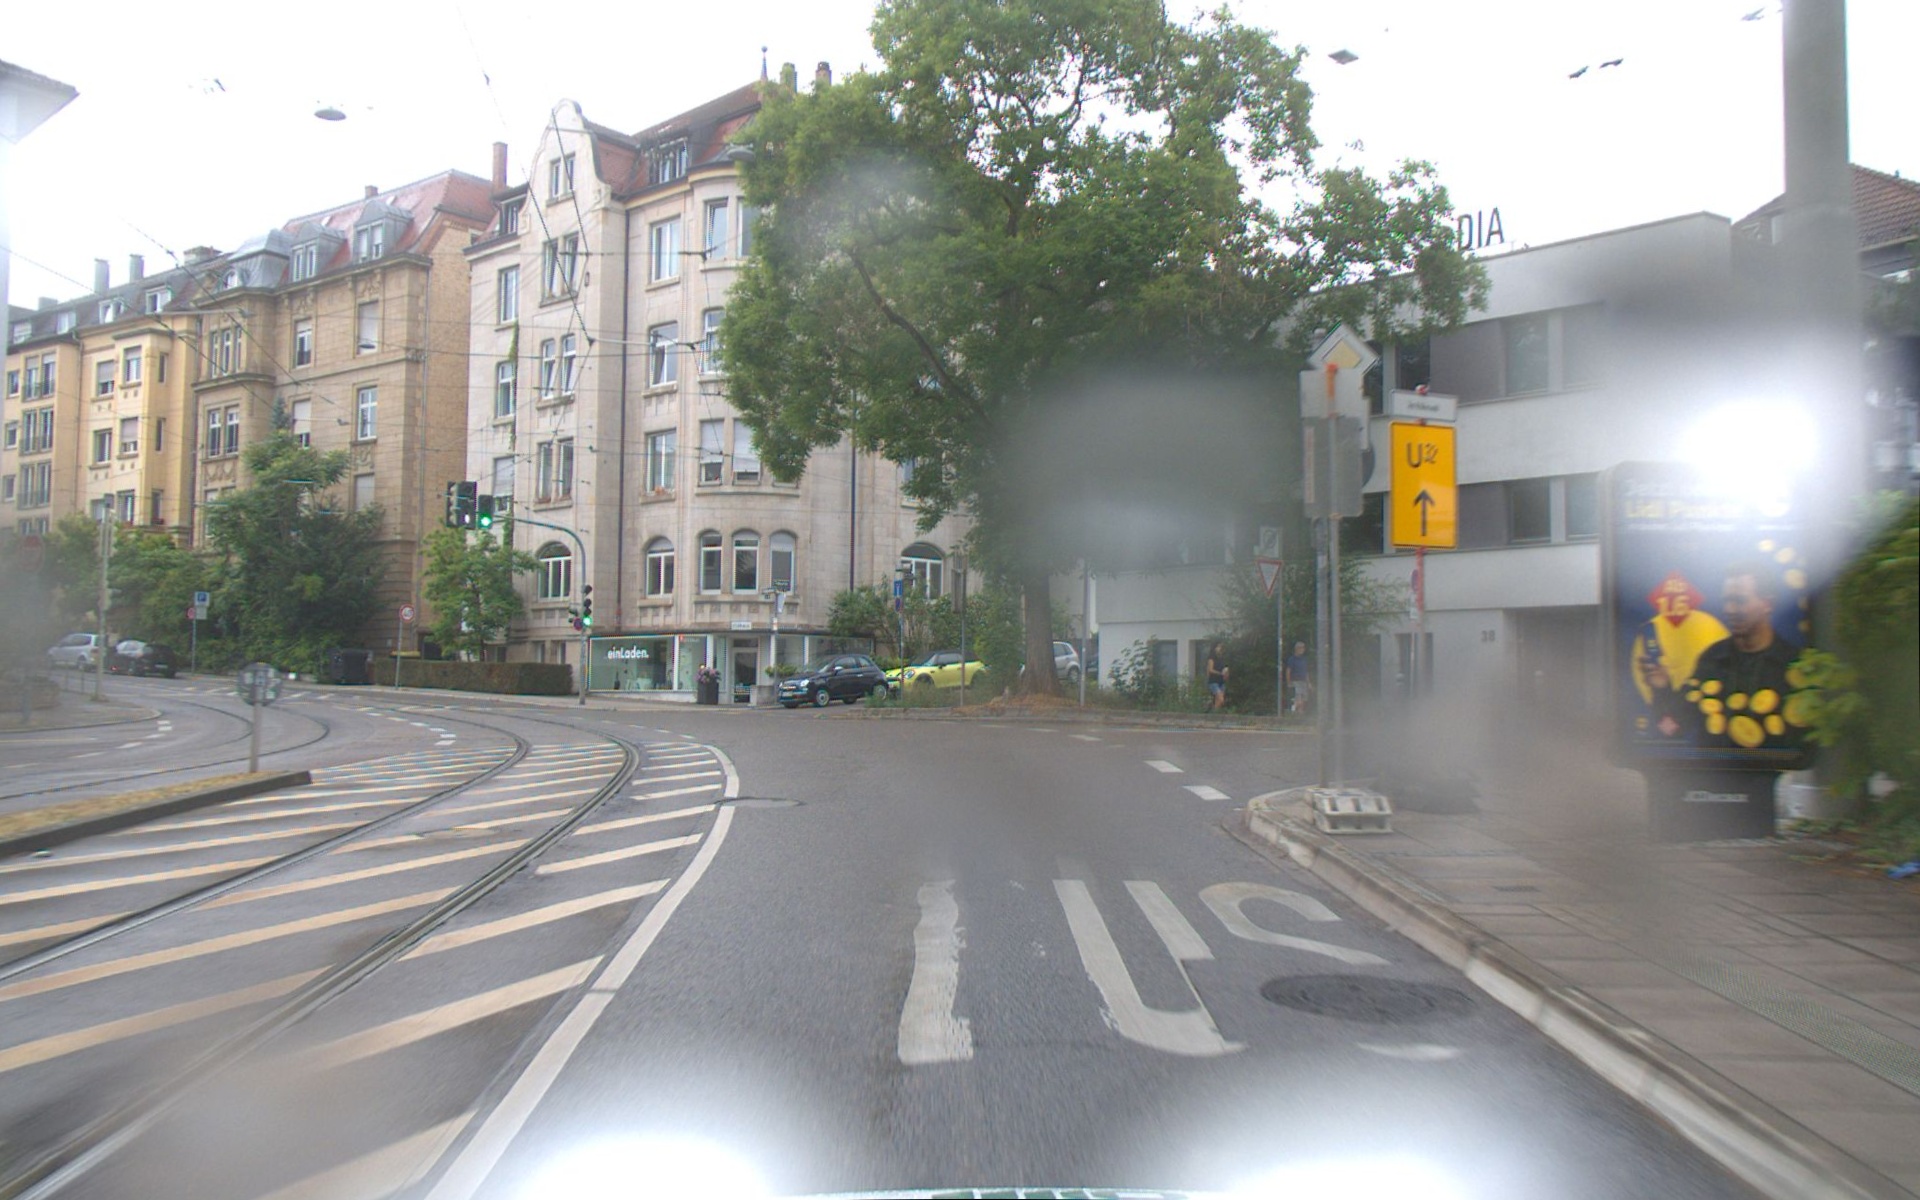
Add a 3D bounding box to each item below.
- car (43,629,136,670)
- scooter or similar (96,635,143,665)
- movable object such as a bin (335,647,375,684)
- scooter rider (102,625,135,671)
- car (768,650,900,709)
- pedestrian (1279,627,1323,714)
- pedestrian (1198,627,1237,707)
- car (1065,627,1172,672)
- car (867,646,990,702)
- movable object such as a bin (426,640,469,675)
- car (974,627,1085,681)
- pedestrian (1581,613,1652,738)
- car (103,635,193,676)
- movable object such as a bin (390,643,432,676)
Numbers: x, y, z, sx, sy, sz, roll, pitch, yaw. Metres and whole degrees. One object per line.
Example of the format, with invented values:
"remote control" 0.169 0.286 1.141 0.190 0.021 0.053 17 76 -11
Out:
"car" -37.803 2.140 71.833 4.200 1.632 1.766 1 -2 34
"scooter or similar" -33.243 1.985 65.421 1.963 1.068 0.514 2 -4 27
"movable object such as a bin" -24.340 2.633 66.573 0.805 1.427 1.226 3 1 31
"scooter rider" -33.314 1.901 65.471 0.825 1.736 0.624 2 -5 27
"car" -3.706 2.312 48.887 3.640 1.534 1.711 -1 0 -43
"pedestrian" 6.710 1.385 32.584 0.539 1.658 0.595 2 0 -34
"pedestrian" 5.252 1.366 33.811 0.589 1.593 0.544 2 0 -11
"car" 5.690 1.810 59.188 3.861 1.534 1.600 2 -4 -41
"car" -0.957 2.275 51.582 3.640 1.534 1.710 -1 0 -43
"movable object such as a bin" -21.804 2.432 70.400 1.283 1.450 1.228 0 -1 39
"car" 2.335 1.788 55.091 1.595 1.534 3.750 -5 -2 43
"pedestrian" 9.279 1.056 23.386 0.738 1.730 0.664 2 -2 -39
"car" -33.789 2.296 68.770 3.924 1.415 1.763 3 -2 38
"movable object such as a bin" -22.907 2.465 68.993 1.146 1.331 1.215 0 -1 39
